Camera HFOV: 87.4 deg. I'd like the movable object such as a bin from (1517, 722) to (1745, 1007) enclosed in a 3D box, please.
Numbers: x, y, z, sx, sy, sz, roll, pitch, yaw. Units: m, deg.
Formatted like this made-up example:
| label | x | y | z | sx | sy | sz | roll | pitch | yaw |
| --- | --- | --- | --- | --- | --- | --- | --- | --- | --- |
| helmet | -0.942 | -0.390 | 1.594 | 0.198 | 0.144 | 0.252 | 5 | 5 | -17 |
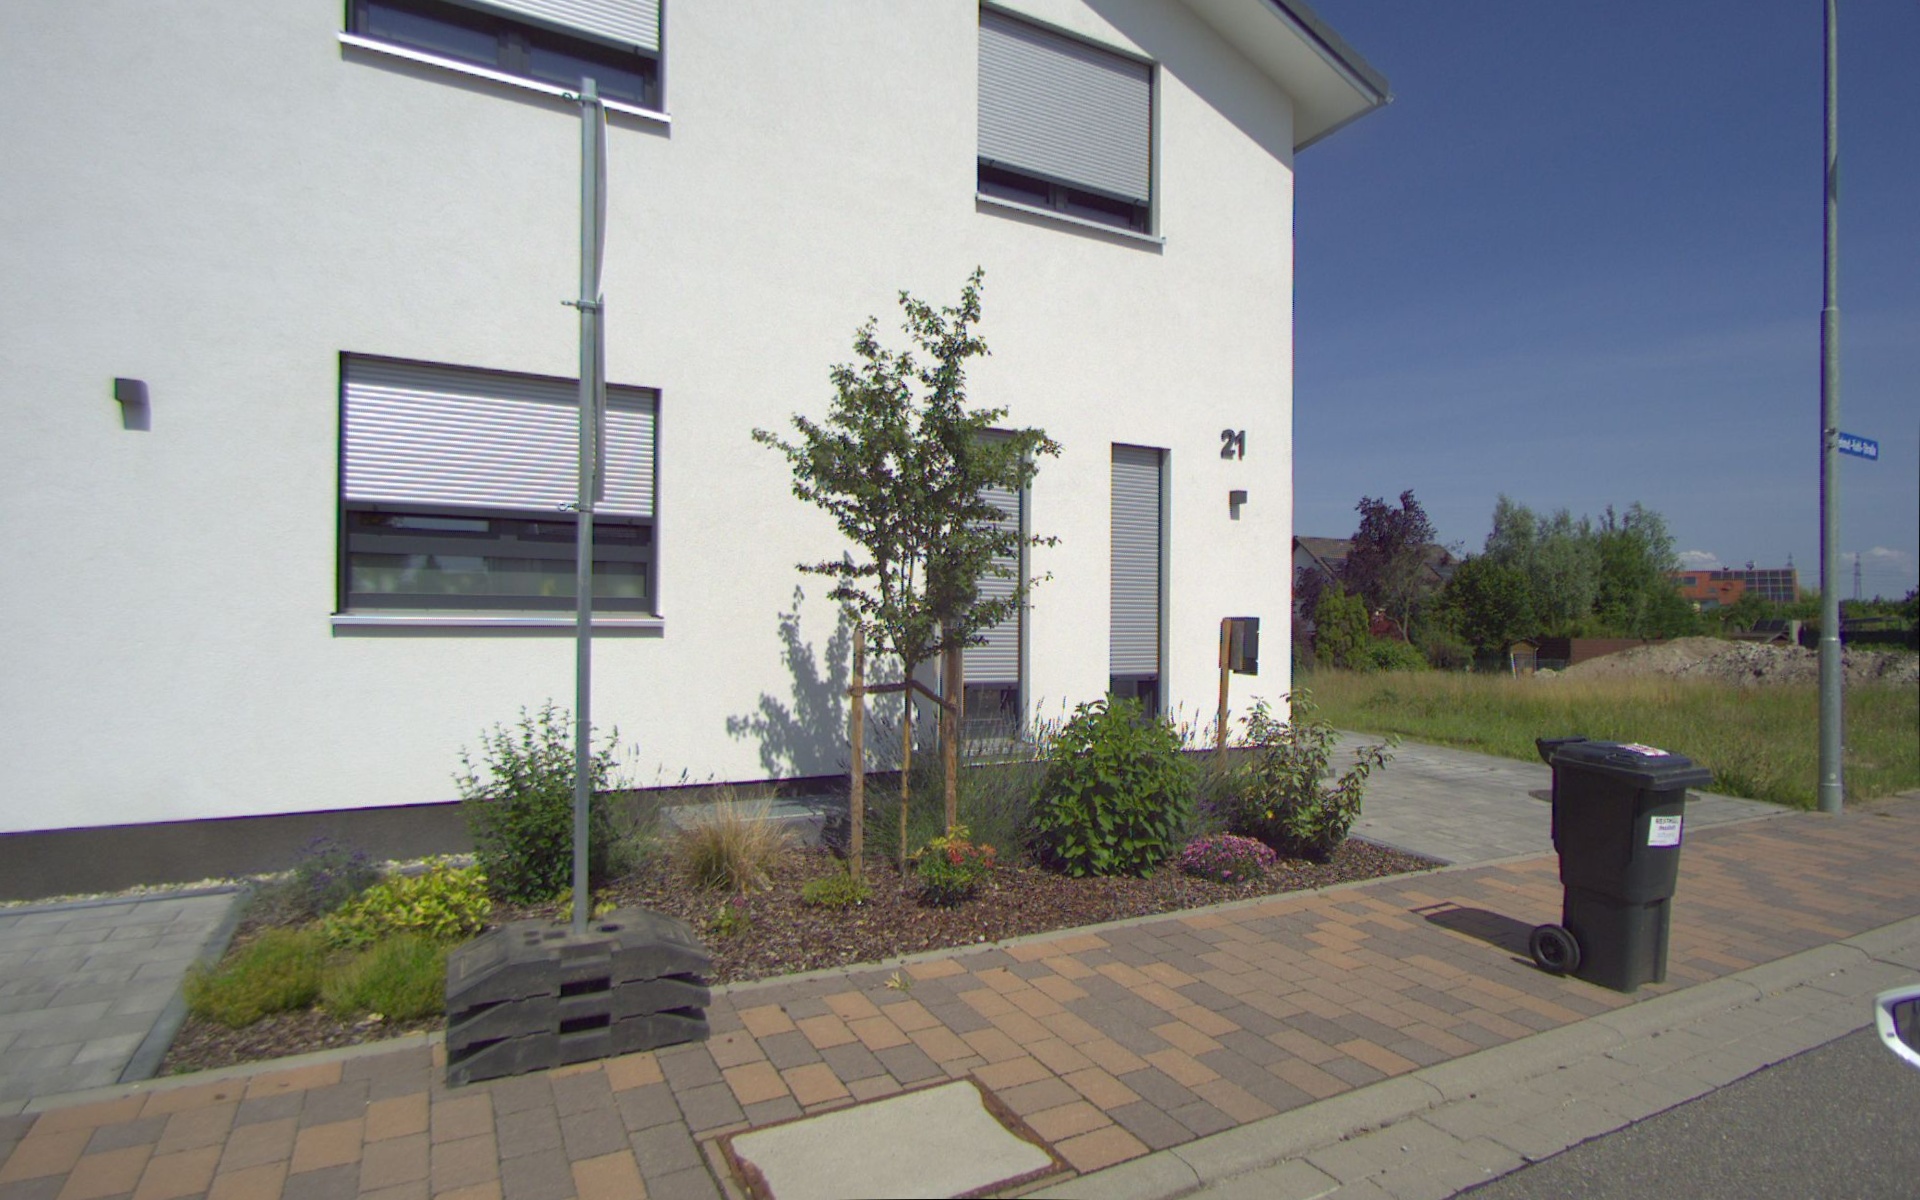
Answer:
| label | x | y | z | sx | sy | sz | roll | pitch | yaw |
| --- | --- | --- | --- | --- | --- | --- | --- | --- | --- |
| movable object such as a bin | 2.693 | 1.010 | 4.051 | 0.495 | 0.961 | 0.619 | 2 | -2 | -33 |
